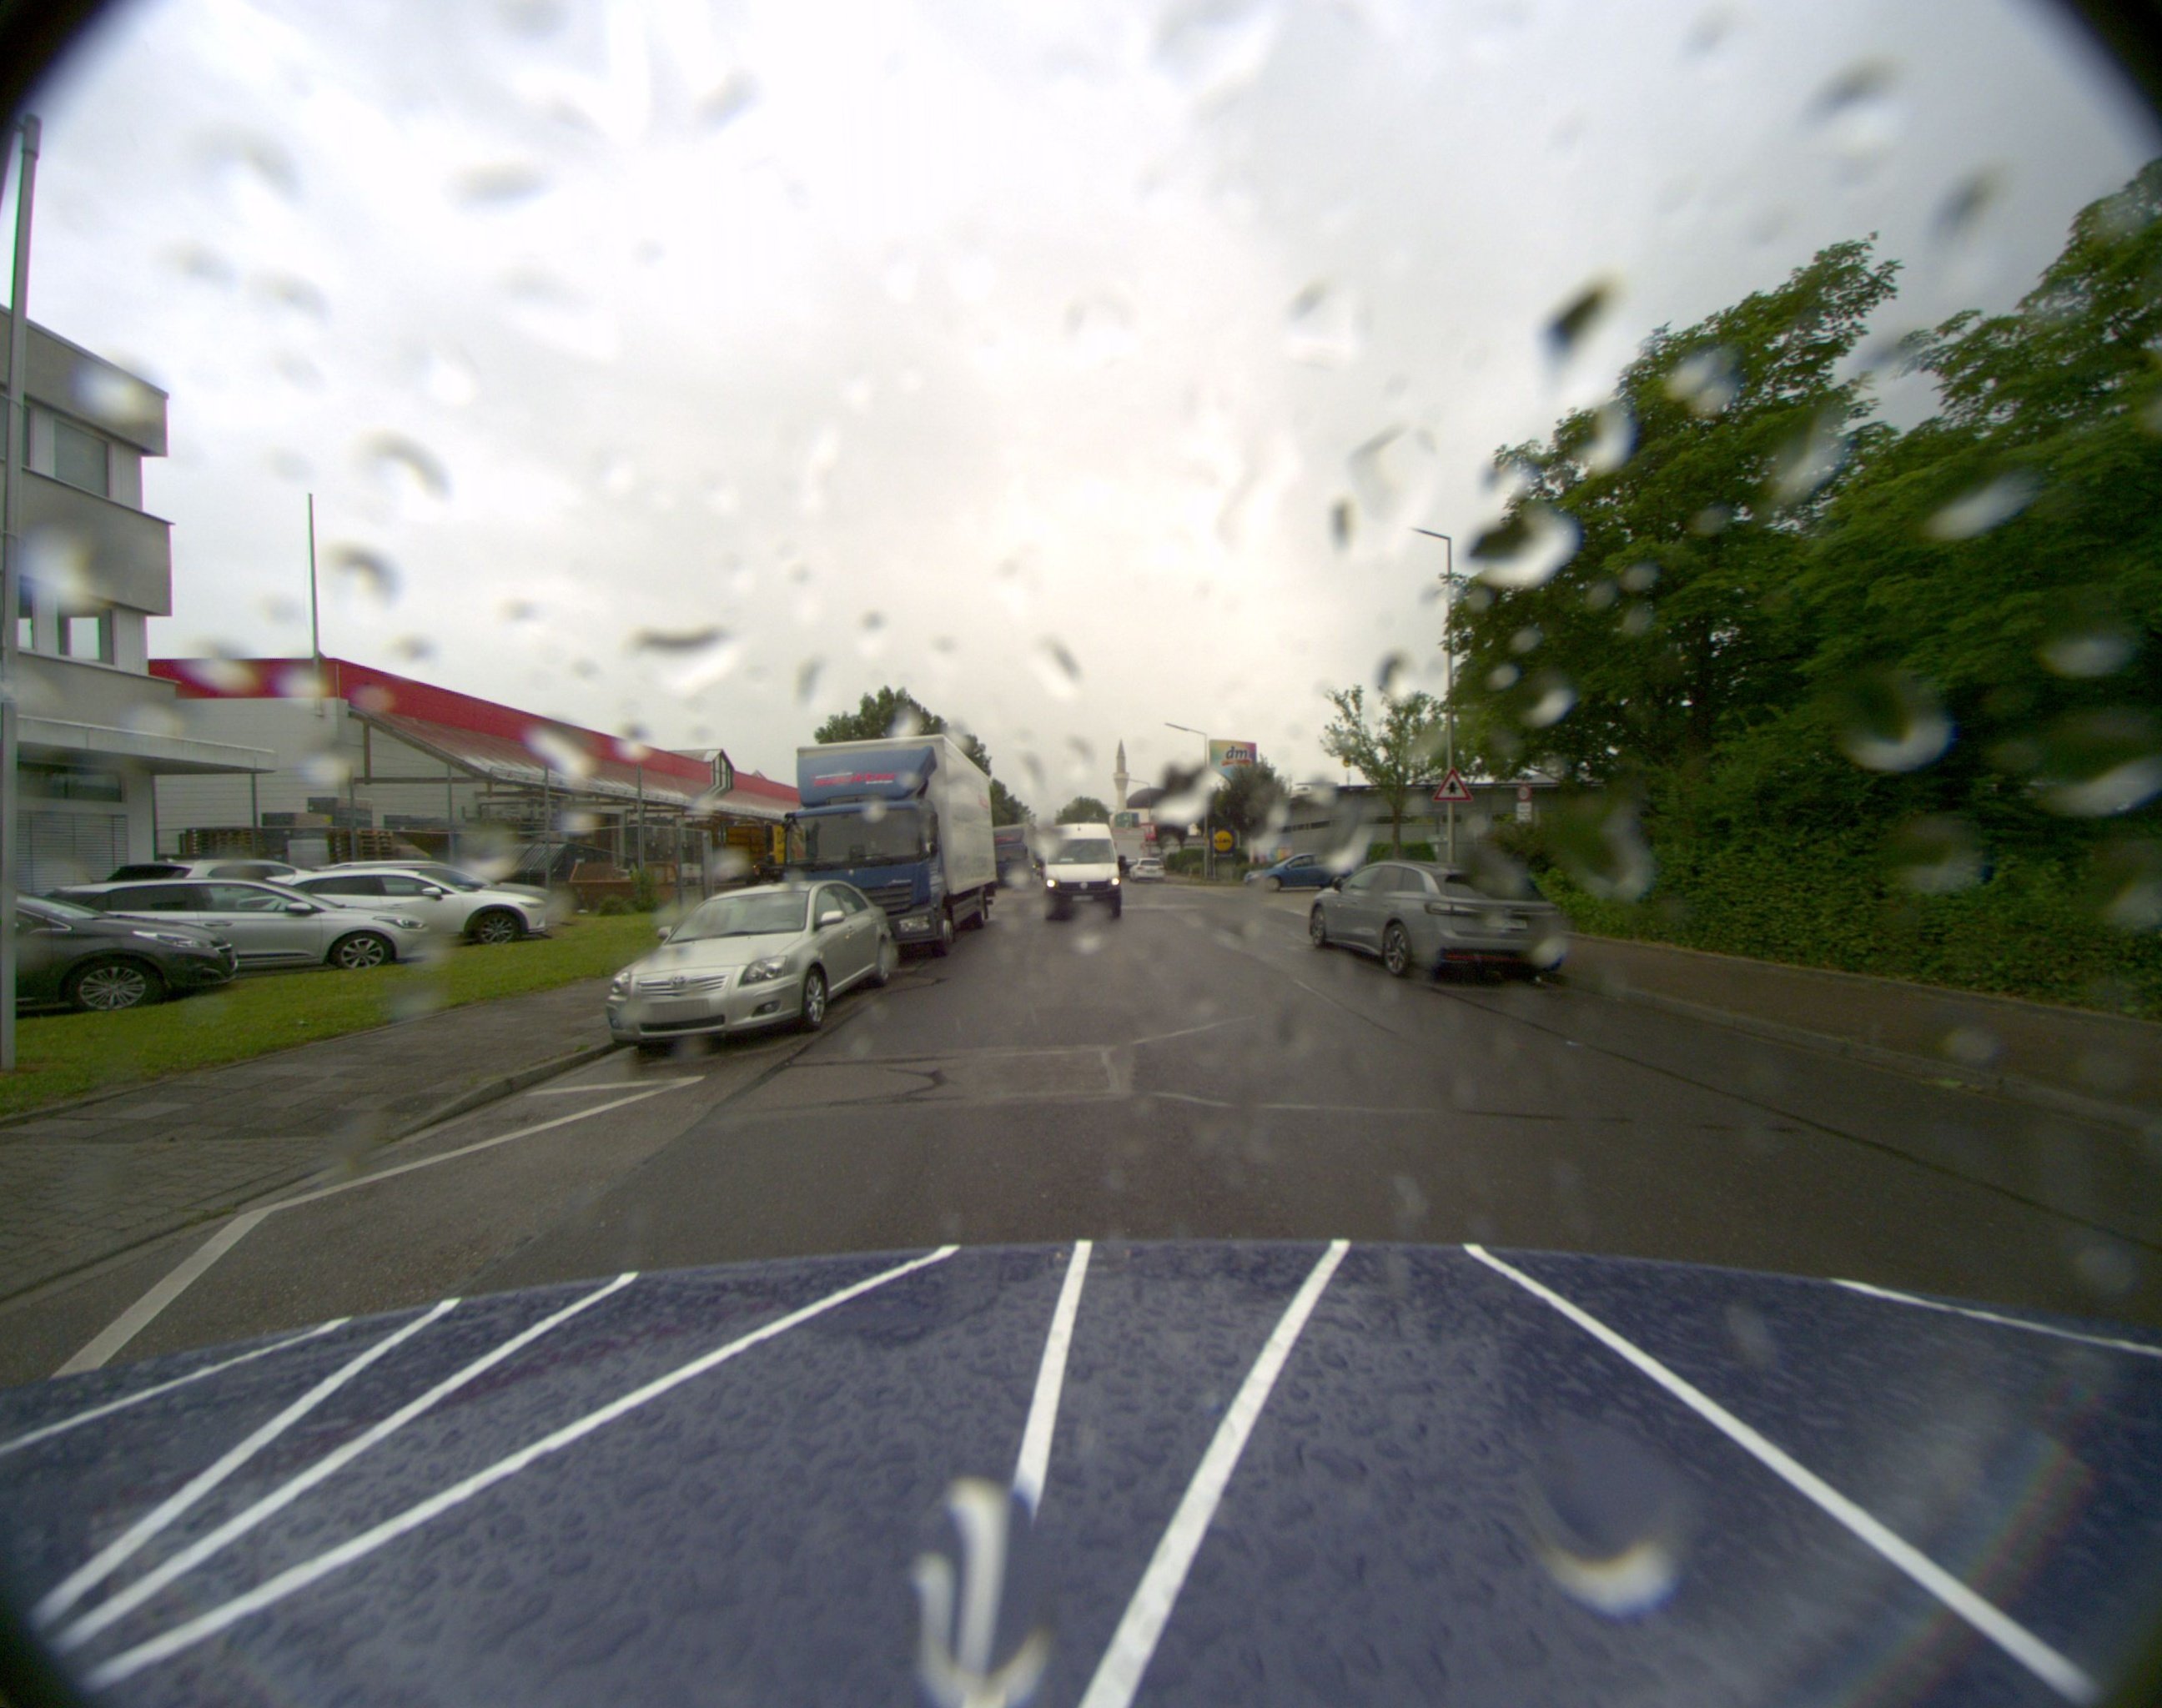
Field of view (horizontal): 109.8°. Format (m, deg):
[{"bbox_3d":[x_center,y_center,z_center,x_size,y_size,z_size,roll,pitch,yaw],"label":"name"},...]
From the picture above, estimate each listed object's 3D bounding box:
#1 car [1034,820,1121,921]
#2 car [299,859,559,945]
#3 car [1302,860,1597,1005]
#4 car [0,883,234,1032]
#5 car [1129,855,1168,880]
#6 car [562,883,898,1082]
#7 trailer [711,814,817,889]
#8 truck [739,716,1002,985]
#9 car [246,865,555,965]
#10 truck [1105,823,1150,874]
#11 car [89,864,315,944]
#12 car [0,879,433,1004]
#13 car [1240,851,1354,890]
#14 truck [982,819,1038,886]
[{"bbox_3d":[0.008,0.394,21.512,2.084,2.466,5.347,-1,0,2],"label":"car"},{"bbox_3d":[-13.758,0.914,16.201,1.868,1.518,4.008,-1,0,44],"label":"car"},{"bbox_3d":[4.931,0.928,11.113,1.814,1.519,4.746,3,0,-2],"label":"car"},{"bbox_3d":[-11.567,1.080,7.743,3.776,1.385,1.702,-1,0,-44],"label":"car"},{"bbox_3d":[4.026,0.760,45.957,1.841,1.426,4.490,0,0,-1],"label":"car"},{"bbox_3d":[-3.431,1.146,8.481,1.802,1.433,4.344,-1,0,-2],"label":"car"},{"bbox_3d":[-19.816,-0.154,48.323,2.975,4.218,9.469,-1,0,-2],"label":"trailer"},{"bbox_3d":[-3.564,-0.061,15.779,2.748,3.767,9.297,-4,0,-1],"label":"truck"},{"bbox_3d":[-12.272,0.992,13.930,1.770,1.461,4.008,-1,0,44],"label":"car"},{"bbox_3d":[3.573,-0.417,60.338,2.889,3.724,7.866,-1,0,-1],"label":"truck"},{"bbox_3d":[-17.731,0.939,15.511,1.402,1.417,2.746,-1,0,-2],"label":"car"},{"bbox_3d":[-11.849,1.081,10.675,1.702,1.279,4.008,-1,0,44],"label":"car"},{"bbox_3d":[8.461,0.632,30.016,3.998,1.432,1.736,0,0,-2],"label":"car"},{"bbox_3d":[-4.301,-0.106,47.667,2.679,3.670,8.007,-4,0,-1],"label":"truck"}]
